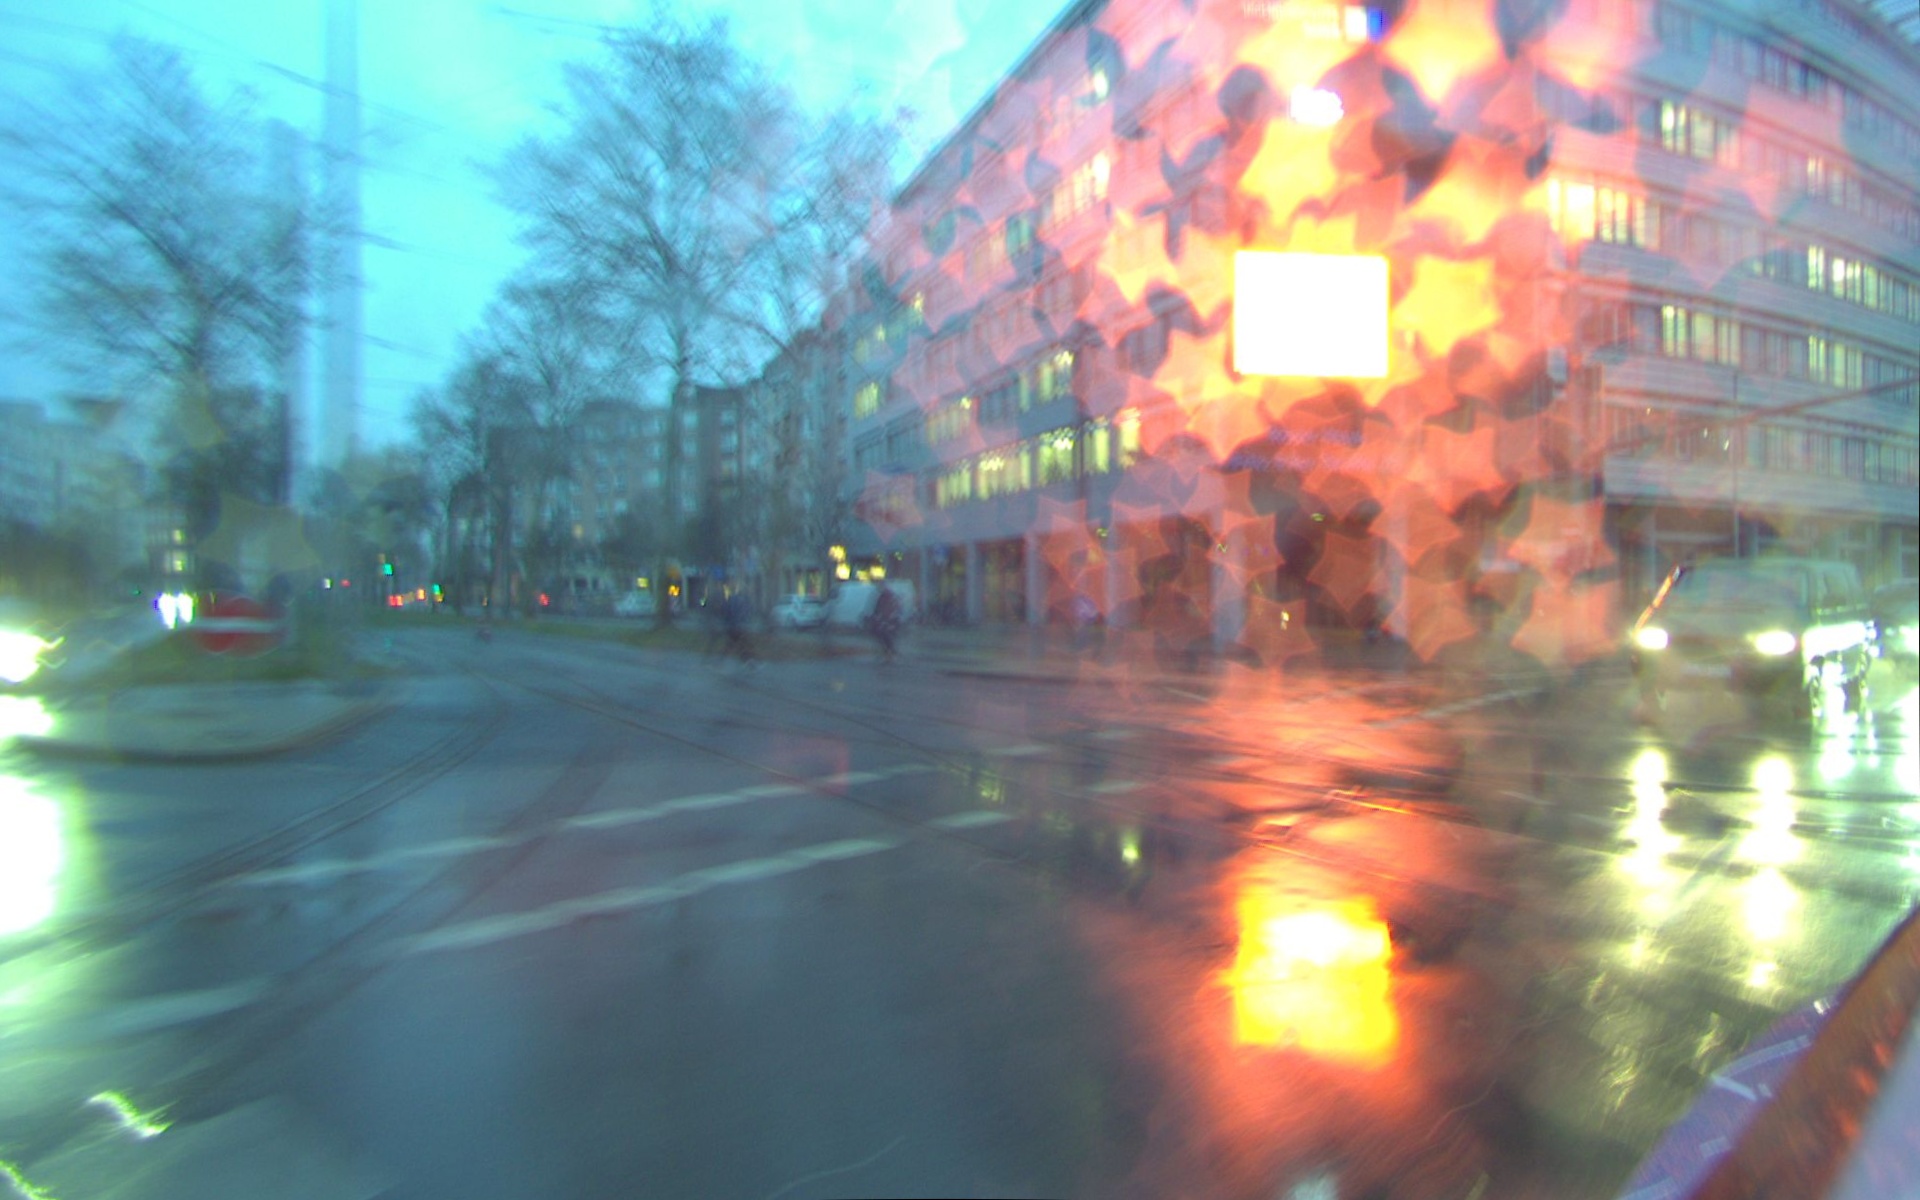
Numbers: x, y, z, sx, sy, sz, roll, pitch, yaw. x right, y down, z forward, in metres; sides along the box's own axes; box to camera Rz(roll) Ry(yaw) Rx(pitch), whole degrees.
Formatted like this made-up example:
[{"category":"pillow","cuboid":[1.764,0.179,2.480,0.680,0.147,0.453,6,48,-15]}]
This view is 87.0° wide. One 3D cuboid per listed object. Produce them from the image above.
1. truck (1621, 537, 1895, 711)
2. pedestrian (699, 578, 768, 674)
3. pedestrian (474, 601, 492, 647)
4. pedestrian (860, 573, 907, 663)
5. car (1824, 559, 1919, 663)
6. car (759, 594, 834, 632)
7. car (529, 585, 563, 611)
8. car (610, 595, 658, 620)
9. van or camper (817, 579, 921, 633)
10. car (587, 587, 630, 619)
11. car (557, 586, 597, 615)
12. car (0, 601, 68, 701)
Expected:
[{"category":"truck","cuboid":[10.722,0.293,13.482,4.534,1.942,1.908,0,-2,-40]},{"category":"pedestrian","cuboid":[-4.423,0.487,19.746,1.129,1.809,0.778,0,0,-29]},{"category":"pedestrian","cuboid":[-14.593,0.724,30.969,0.469,1.381,0.607,0,0,-29]},{"category":"pedestrian","cuboid":[-1.587,0.373,21.113,0.790,1.834,0.647,0,0,19]},{"category":"car","cuboid":[18.792,0.199,19.524,4.597,1.843,1.911,0,-2,-32]},{"category":"car","cuboid":[-7.087,0.543,43.609,1.612,1.547,3.842,0,0,-36]},{"category":"car","cuboid":[-32.524,-0.160,79.477,1.807,1.975,4.002,-1,1,-32]},{"category":"car","cuboid":[-19.904,0.418,61.721,1.807,1.451,4.002,-1,1,-32]},{"category":"van or camper","cuboid":[-3.580,0.236,38.863,1.807,1.953,4.746,0,0,-36]},{"category":"car","cuboid":[-23.035,0.177,66.207,1.807,1.975,4.002,-1,1,-32]},{"category":"car","cuboid":[-26.946,0.031,71.115,1.807,1.975,4.002,-1,1,-32]},{"category":"car","cuboid":[-15.746,0.759,16.143,1.780,1.358,3.995,-1,2,-34]}]
